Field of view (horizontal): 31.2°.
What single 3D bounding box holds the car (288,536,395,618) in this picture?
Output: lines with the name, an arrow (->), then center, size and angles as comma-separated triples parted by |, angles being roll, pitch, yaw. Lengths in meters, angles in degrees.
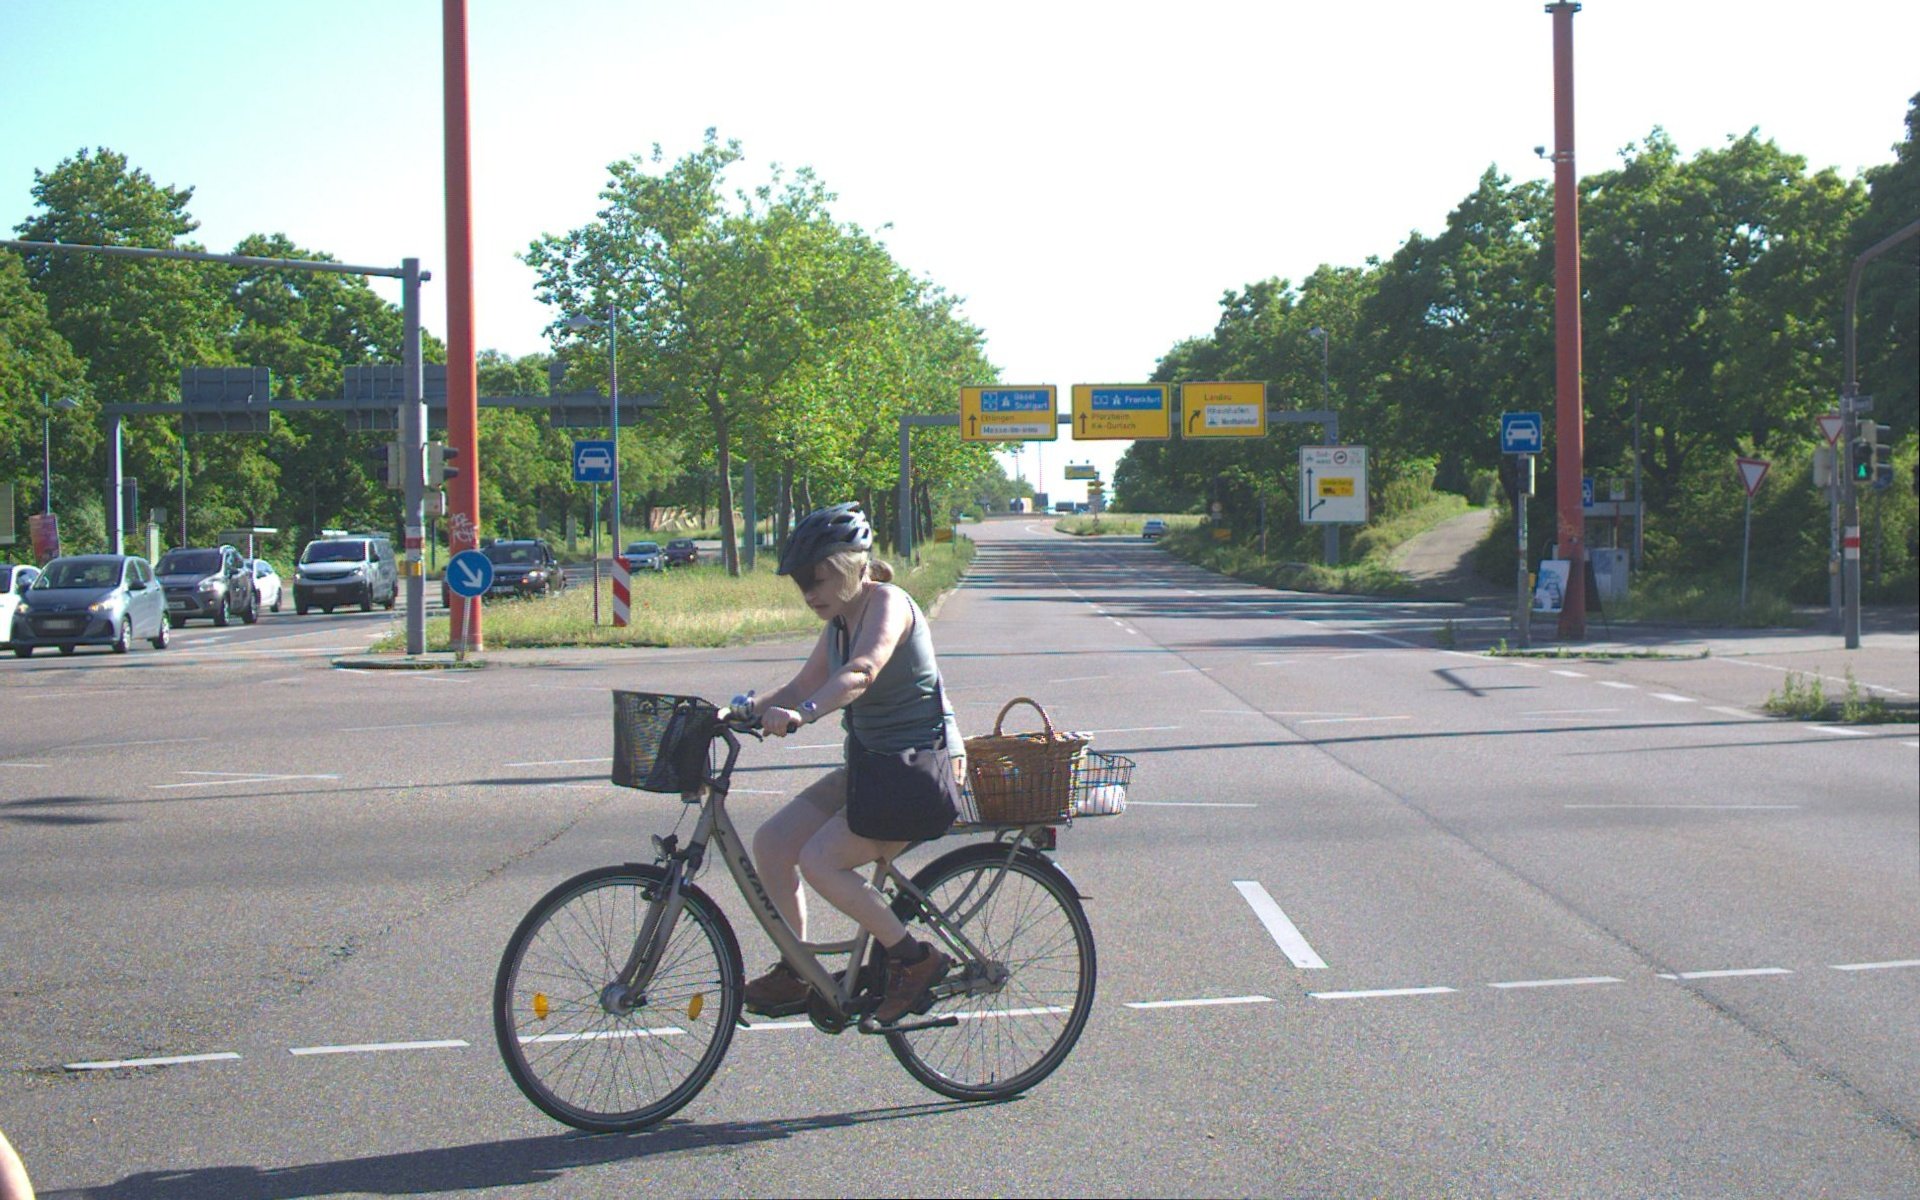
car -> -15.741, -0.614, 87.741 | 1.893, 2.019, 5.224 | -1, 1, -1

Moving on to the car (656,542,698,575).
car -> -14.209, -2.071, 172.700 | 1.819, 1.623, 4.000 | -1, 1, -1

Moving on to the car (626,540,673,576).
car -> -14.437, -1.948, 160.035 | 1.797, 1.634, 4.000 | -1, 1, 0

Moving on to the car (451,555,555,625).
car -> -10.157, -0.243, 76.615 | 1.819, 1.503, 4.000 | -1, 1, -1

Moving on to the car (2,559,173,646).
car -> -13.122, 0.017, 51.896 | 1.739, 1.239, 3.613 | -1, 1, -1

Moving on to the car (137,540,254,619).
car -> -16.164, -0.453, 72.814 | 1.739, 1.606, 3.613 | -1, 1, -1

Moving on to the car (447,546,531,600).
car -> -12.113, -0.711, 88.493 | 1.739, 1.357, 3.613 | -1, 1, -1

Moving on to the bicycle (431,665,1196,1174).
bicycle -> -0.378, 0.805, 9.266 | 1.942, 1.191, 0.692 | -1, 1, -28

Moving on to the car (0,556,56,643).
car -> -16.437, -0.023, 57.495 | 1.739, 1.406, 3.613 | -1, 1, -1

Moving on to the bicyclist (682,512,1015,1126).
bicyclist -> -0.308, 0.557, 9.299 | 0.660, 1.579, 0.673 | -1, 1, -28

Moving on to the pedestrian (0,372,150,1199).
pedestrian -> -1.961, 0.526, 5.857 | 0.984, 1.787, 0.955 | -1, 1, -22
